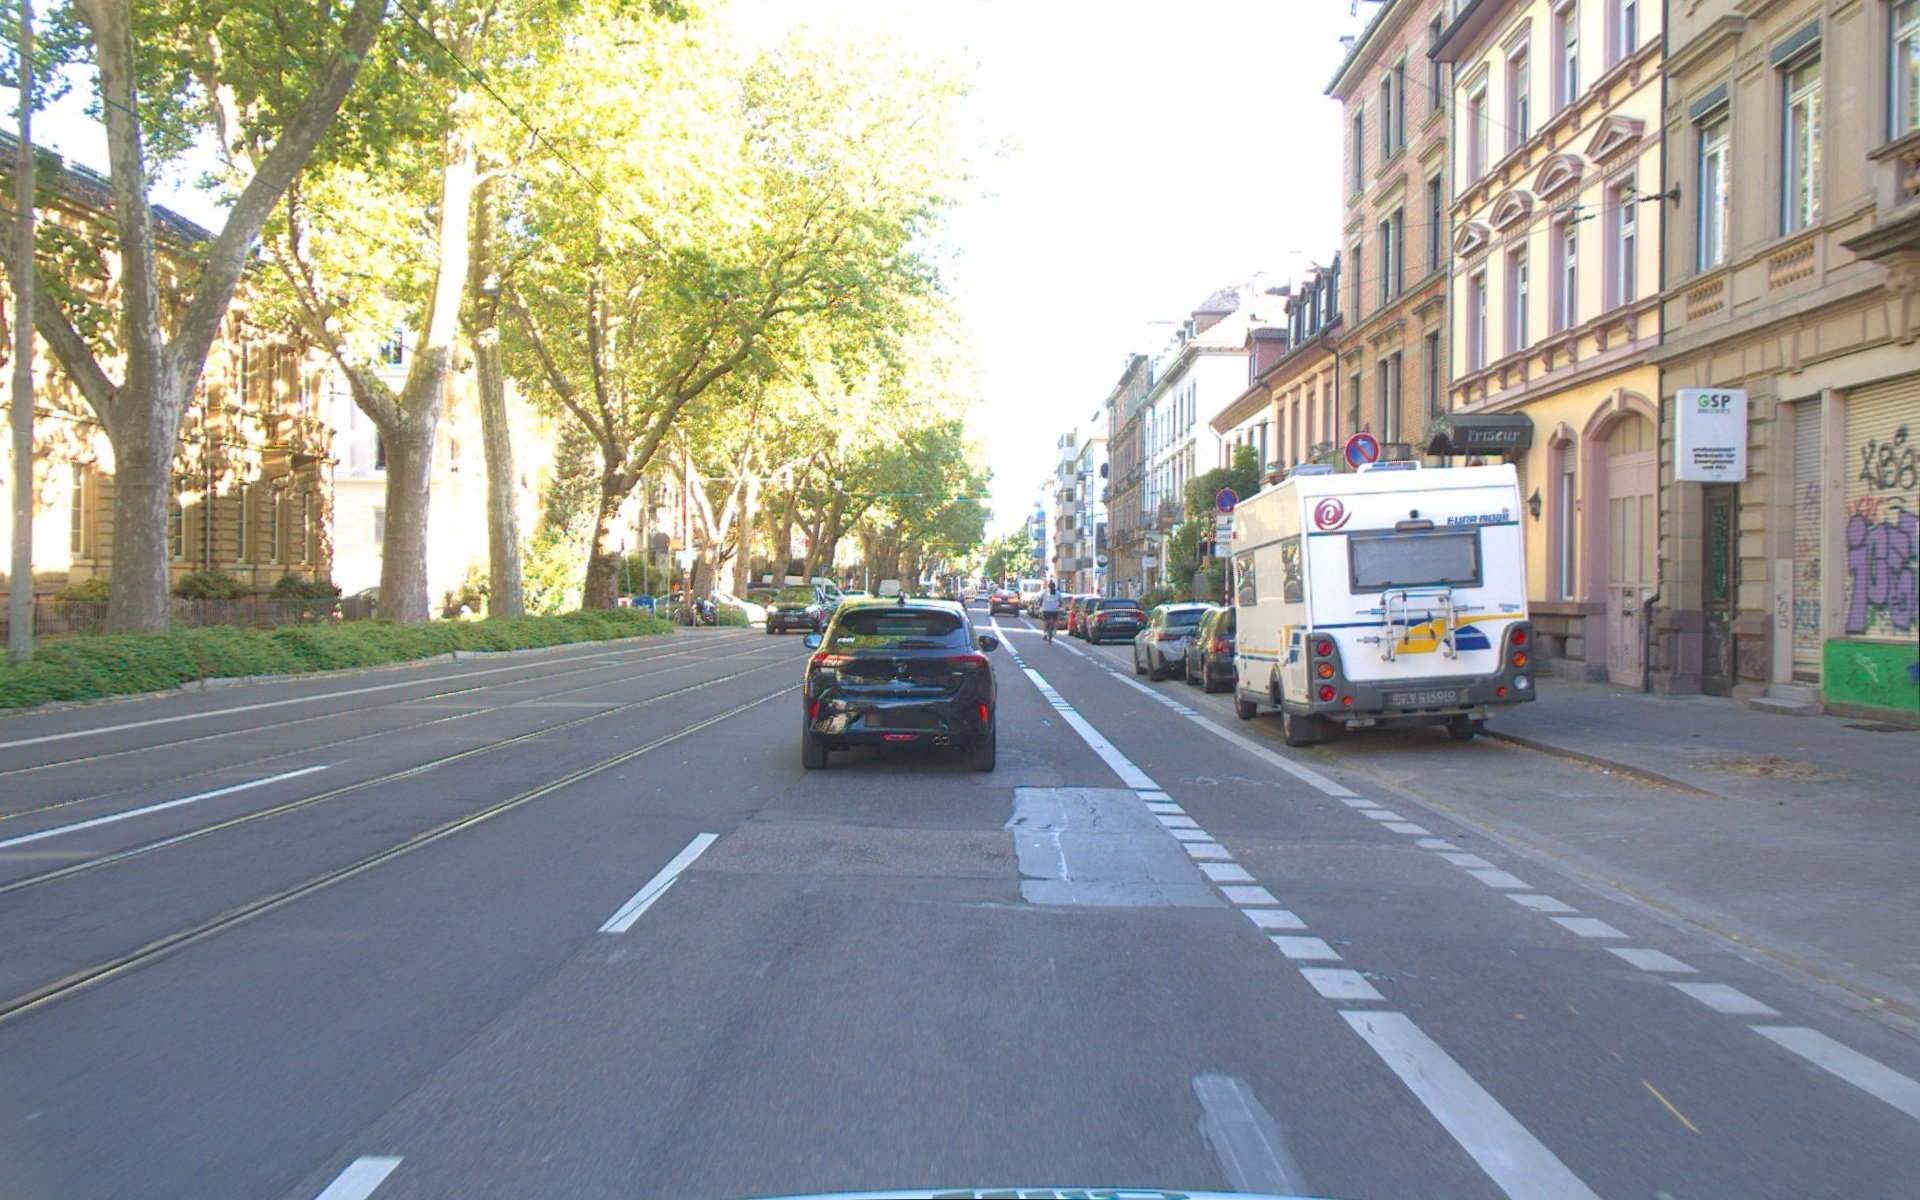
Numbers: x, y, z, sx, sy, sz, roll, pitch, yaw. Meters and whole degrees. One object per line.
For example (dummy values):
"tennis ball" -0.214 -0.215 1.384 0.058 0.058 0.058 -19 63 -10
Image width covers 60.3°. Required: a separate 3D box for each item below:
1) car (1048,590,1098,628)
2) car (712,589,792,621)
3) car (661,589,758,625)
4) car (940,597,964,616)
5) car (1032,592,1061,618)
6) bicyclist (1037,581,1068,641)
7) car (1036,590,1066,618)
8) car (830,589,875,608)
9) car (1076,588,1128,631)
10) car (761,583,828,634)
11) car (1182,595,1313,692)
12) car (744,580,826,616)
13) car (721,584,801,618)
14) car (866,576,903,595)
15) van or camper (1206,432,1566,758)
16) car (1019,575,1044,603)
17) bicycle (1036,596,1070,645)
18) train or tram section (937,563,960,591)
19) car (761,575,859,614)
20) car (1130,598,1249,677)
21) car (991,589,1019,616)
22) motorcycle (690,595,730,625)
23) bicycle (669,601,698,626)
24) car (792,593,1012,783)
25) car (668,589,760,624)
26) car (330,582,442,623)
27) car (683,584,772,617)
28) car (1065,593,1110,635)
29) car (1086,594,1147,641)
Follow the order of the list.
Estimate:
"car" 5.148 0.411 75.763 1.842 1.613 3.931 -3 0 -2
"car" -10.750 0.249 85.624 3.839 1.467 1.749 2 0 1
"car" -10.824 0.304 71.743 3.839 1.355 1.848 2 0 1
"car" -0.582 0.467 126.123 1.773 1.361 3.933 1 0 0
"car" 5.494 0.305 104.877 1.669 1.481 3.699 -3 0 4
"bicyclist" 2.812 0.324 50.357 0.830 1.770 1.162 1 0 0
"car" 5.495 0.237 99.823 1.536 1.544 3.039 -3 0 -1
"car" -9.434 -0.119 145.755 3.841 1.524 1.676 2 0 -2
"car" 5.085 0.333 59.670 1.617 1.482 3.869 0 0 1
"car" -5.690 0.253 57.328 1.828 1.658 4.561 0 1 1
"car" 4.835 0.691 28.296 1.611 1.459 4.030 -3 0 2
"car" -10.543 -0.137 99.756 4.578 1.957 1.980 2 0 2
"car" -10.545 0.055 87.922 3.912 1.655 1.879 2 0 1
"car" -8.000 -1.574 176.191 3.841 1.821 1.676 2 0 -2
"van or camper" 4.678 -0.054 19.846 2.426 3.024 7.886 -3 0 2
"car" 6.138 -0.943 142.474 2.032 2.258 4.934 -3 0 2
"bicycle" 2.810 0.592 50.309 0.843 1.431 2.524 1 0 0
"train or tram section" -1.557 -3.150 232.829 2.678 3.746 12.719 0 0 2
"car" -10.378 -0.393 114.855 6.491 2.451 2.458 2 0 1
"car" 4.529 0.693 33.214 1.772 1.460 4.665 -1 0 0
"car" 3.039 0.147 110.993 1.772 1.772 3.934 0 0 2
"motorcycle" -9.947 0.381 65.839 0.865 1.167 2.392 1 0 9
"bicycle" -11.019 0.511 65.908 0.529 0.957 2.036 1 0 9
"car" -0.452 0.705 15.161 1.757 1.466 3.532 1 1 1
"car" -11.015 0.300 74.244 3.840 1.478 1.800 1 0 0
"car" -22.059 0.087 63.630 3.698 1.443 1.695 0 3 1
"car" -10.803 0.024 77.125 3.839 1.488 1.806 1 0 1
"car" 4.943 0.524 64.556 1.600 1.574 3.577 0 0 2
"car" 4.919 0.533 52.526 1.658 1.417 4.496 -1 0 2
